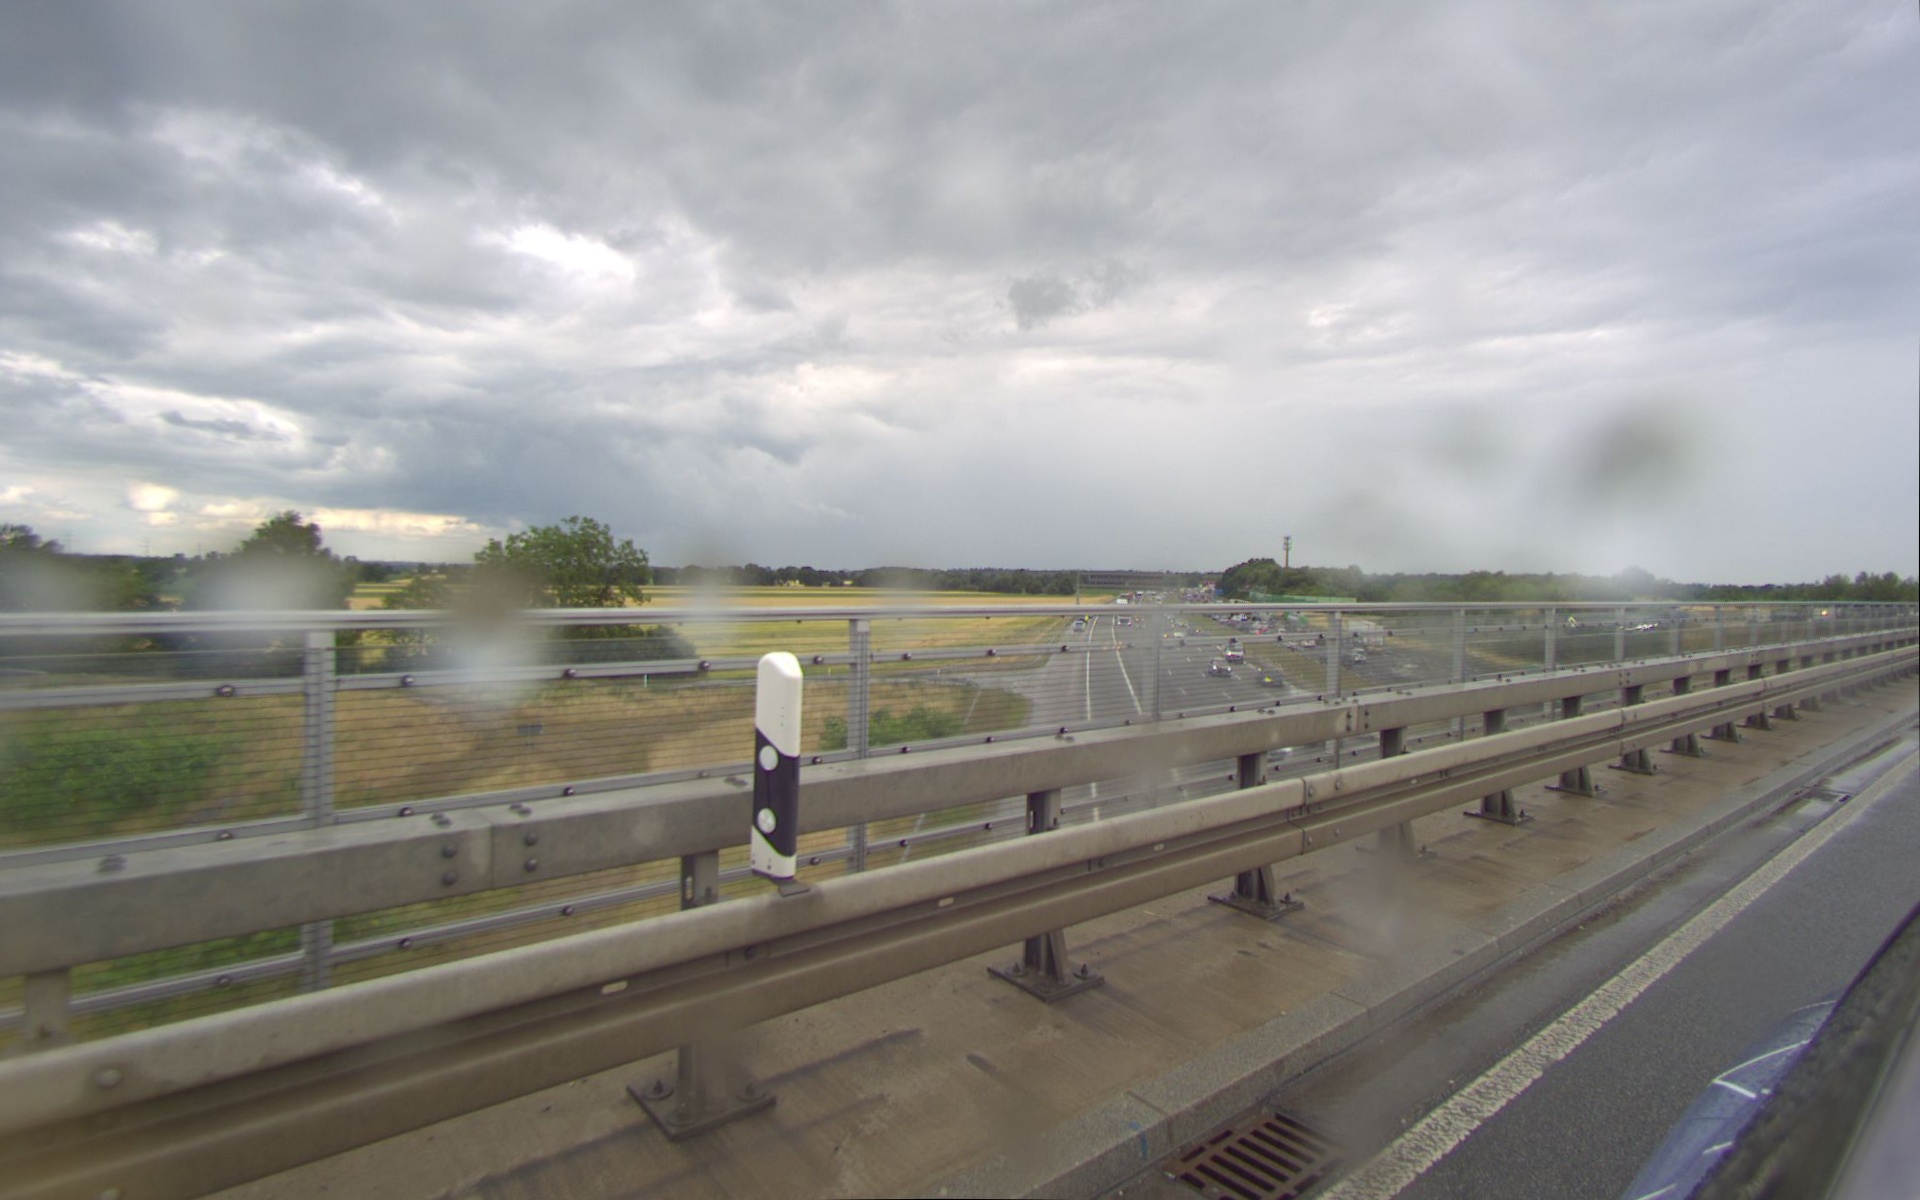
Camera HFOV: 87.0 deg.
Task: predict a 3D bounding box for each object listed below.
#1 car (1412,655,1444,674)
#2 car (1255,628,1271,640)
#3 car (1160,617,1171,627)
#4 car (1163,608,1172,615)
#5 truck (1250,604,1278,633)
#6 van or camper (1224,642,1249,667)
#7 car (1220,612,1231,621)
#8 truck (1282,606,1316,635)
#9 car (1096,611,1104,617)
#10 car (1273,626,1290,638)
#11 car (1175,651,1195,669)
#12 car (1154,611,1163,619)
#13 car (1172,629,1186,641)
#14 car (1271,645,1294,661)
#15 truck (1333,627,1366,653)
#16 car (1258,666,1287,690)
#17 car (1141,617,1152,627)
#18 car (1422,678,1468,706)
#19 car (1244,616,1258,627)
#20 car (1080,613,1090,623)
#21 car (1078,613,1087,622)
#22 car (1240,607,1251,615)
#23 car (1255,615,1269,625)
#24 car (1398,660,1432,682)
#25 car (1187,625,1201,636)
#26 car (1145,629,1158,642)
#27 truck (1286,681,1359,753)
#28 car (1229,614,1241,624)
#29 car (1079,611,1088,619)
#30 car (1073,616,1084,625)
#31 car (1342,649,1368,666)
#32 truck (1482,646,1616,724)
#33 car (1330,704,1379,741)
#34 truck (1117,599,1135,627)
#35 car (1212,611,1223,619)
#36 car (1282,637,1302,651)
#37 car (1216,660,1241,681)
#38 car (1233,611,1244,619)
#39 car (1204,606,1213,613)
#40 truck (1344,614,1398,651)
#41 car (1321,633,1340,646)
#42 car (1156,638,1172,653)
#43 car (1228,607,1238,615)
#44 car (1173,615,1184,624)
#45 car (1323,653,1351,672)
[{"bbox_3d":[49.850,6.806,107.790,1.826,1.690,4.712,0,0,9],"label":"car"},{"bbox_3d":[47.919,5.356,160.110,1.826,1.690,4.712,0,0,9],"label":"car"},{"bbox_3d":[37.215,3.950,183.239,1.826,1.690,4.712,0,0,9],"label":"car"},{"bbox_3d":[49.999,2.763,244.342,1.826,1.690,4.712,0,0,9],"label":"car"},{"bbox_3d":[62.470,3.684,208.210,3.241,5.511,15.593,0,0,8],"label":"truck"},{"bbox_3d":[32.169,6.350,117.958,2.026,2.481,7.312,0,0,9],"label":"van or camper"},{"bbox_3d":[54.497,3.411,207.777,1.826,1.797,4.712,0,0,9],"label":"car"},{"bbox_3d":[64.912,3.849,194.123,3.241,5.230,15.593,0,0,8],"label":"truck"},{"bbox_3d":[32.758,3.271,237.261,1.784,1.454,4.714,0,0,8],"label":"car"},{"bbox_3d":[52.740,5.211,166.073,1.826,1.690,4.712,0,0,9],"label":"car"},{"bbox_3d":[25.857,6.890,116.373,1.784,1.690,4.713,0,0,8],"label":"car"},{"bbox_3d":[45.201,3.411,230.907,1.826,1.690,4.712,0,0,9],"label":"car"},{"bbox_3d":[34.009,5.469,156.991,1.826,1.690,4.712,0,0,9],"label":"car"},{"bbox_3d":[39.055,6.378,122.668,1.826,1.690,4.712,0,0,9],"label":"car"},{"bbox_3d":[51.474,5.192,133.934,2.176,3.003,9.285,0,0,9],"label":"truck"},{"bbox_3d":[27.974,6.949,90.711,1.784,1.690,4.713,0,0,8],"label":"car"},{"bbox_3d":[33.411,3.867,181.297,1.826,1.690,4.712,0,0,9],"label":"car"},{"bbox_3d":[36.732,6.965,76.796,1.826,1.690,4.712,0,0,9],"label":"car"},{"bbox_3d":[51.659,3.807,179.835,1.826,1.690,4.712,0,0,9],"label":"car"},{"bbox_3d":[23.497,3.320,190.219,1.826,1.690,4.712,0,0,9],"label":"car"},{"bbox_3d":[25.028,3.579,206.869,1.826,1.690,4.712,0,0,9],"label":"car"},{"bbox_3d":[67.778,2.526,240.489,1.826,1.797,4.712,0,0,9],"label":"car"},{"bbox_3d":[56.368,3.700,188.755,1.826,1.797,4.712,0,0,9],"label":"car"},{"bbox_3d":[43.604,6.764,97.059,1.826,1.690,4.712,0,0,9],"label":"car"},{"bbox_3d":[39.647,5.187,171.575,1.826,1.690,4.712,0,0,9],"label":"car"},{"bbox_3d":[29.300,5.439,154.885,1.826,1.690,4.712,0,0,9],"label":"car"},{"bbox_3d":[21.546,6.861,60.622,2.553,3.219,8.374,0,0,9],"label":"truck"},{"bbox_3d":[53.573,3.692,197.204,1.826,1.690,4.712,0,0,9],"label":"car"},{"bbox_3d":[26.841,3.237,219.992,1.826,1.690,4.712,0,0,9],"label":"car"},{"bbox_3d":[19.793,3.461,169.301,1.784,1.454,4.714,0,0,8],"label":"car"},{"bbox_3d":[45.581,6.635,116.880,1.826,1.690,4.712,0,0,9],"label":"car"},{"bbox_3d":[45.026,6.288,78.281,3.545,4.594,15.587,0,0,9],"label":"truck"},{"bbox_3d":[24.559,7.597,63.157,1.784,1.690,4.713,0,0,8],"label":"car"},{"bbox_3d":[31.432,2.396,191.231,2.751,4.962,12.710,0,0,12],"label":"truck"},{"bbox_3d":[58.802,3.359,231.100,1.826,1.797,4.712,0,0,9],"label":"car"},{"bbox_3d":[44.226,5.825,134.944,1.826,1.690,4.712,0,0,9],"label":"car"},{"bbox_3d":[26.033,6.786,98.187,1.784,1.690,4.713,0,0,8],"label":"car"},{"bbox_3d":[61.739,3.297,224.429,1.826,1.797,4.712,0,0,9],"label":"car"},{"bbox_3d":[61.743,2.301,251.794,1.826,1.797,4.712,0,0,9],"label":"car"},{"bbox_3d":[57.445,4.374,141.974,3.545,4.594,15.587,0,0,9],"label":"truck"},{"bbox_3d":[54.830,5.802,149.809,1.826,1.690,4.712,0,0,9],"label":"car"},{"bbox_3d":[27.036,6.033,134.286,1.826,1.690,4.712,0,0,9],"label":"car"},{"bbox_3d":[65.557,2.718,243.213,1.826,1.797,4.712,0,0,9],"label":"car"},{"bbox_3d":[42.147,3.801,195.437,1.826,1.690,4.712,0,0,9],"label":"car"},{"bbox_3d":[40.684,6.742,109.253,1.826,1.690,4.712,0,0,9],"label":"car"}]
